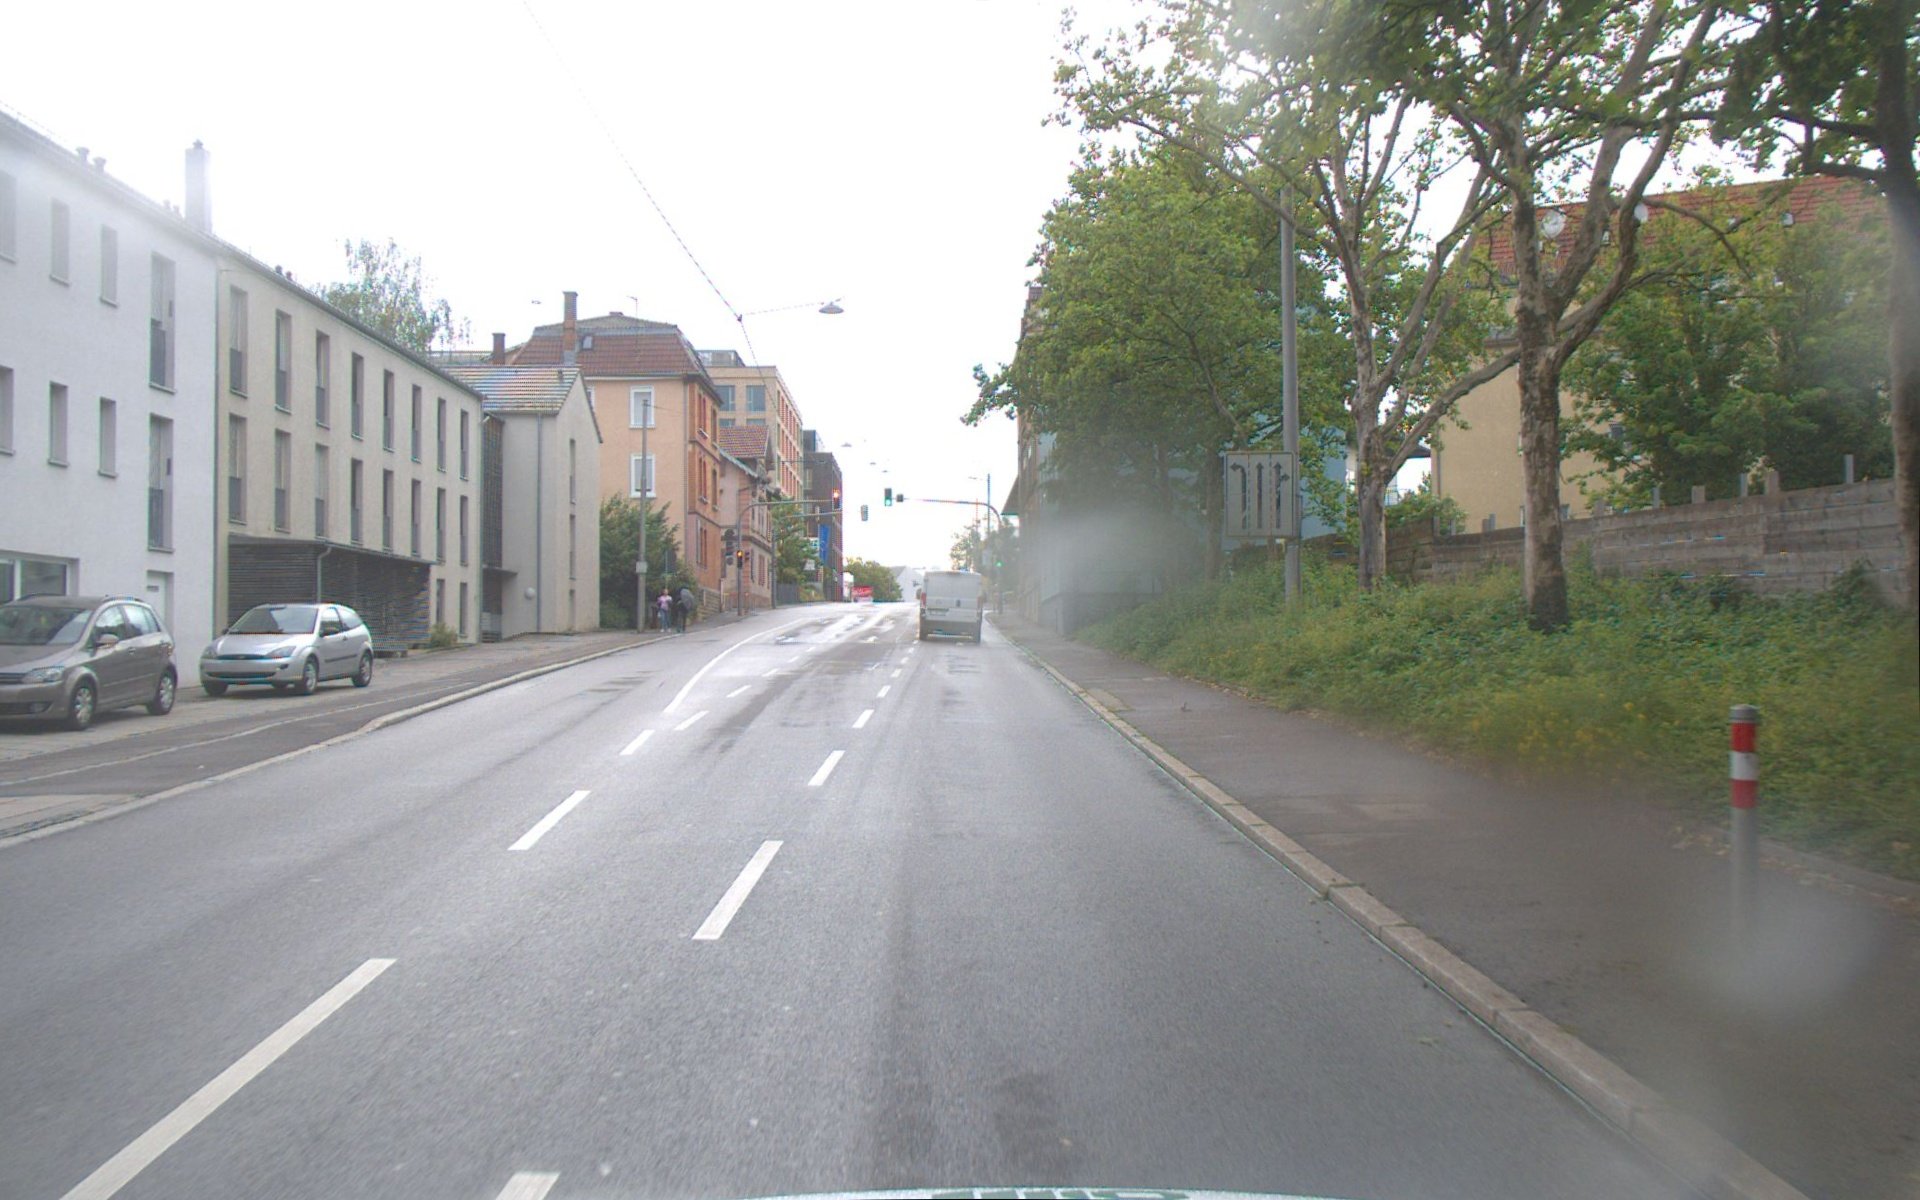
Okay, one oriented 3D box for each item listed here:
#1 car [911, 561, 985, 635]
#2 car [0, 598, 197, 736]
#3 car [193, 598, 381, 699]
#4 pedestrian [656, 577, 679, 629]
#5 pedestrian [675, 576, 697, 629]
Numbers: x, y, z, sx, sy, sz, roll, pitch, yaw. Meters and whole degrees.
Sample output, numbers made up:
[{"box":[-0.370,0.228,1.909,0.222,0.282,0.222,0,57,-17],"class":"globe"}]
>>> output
[{"box":[-0.384,-0.011,54.017,2.288,2.270,3.999,-1,-2,0],"class":"car"},{"box":[-11.364,0.770,20.953,1.634,1.557,4.093,-1,0,-3],"class":"car"},{"box":[-11.243,0.749,27.919,1.634,1.557,4.093,-1,0,-3],"class":"car"},{"box":[-11.632,0.123,65.793,0.657,2.049,0.942,0,0,3],"class":"pedestrian"},{"box":[-10.843,0.102,65.397,0.657,2.049,0.942,0,0,3],"class":"pedestrian"}]
